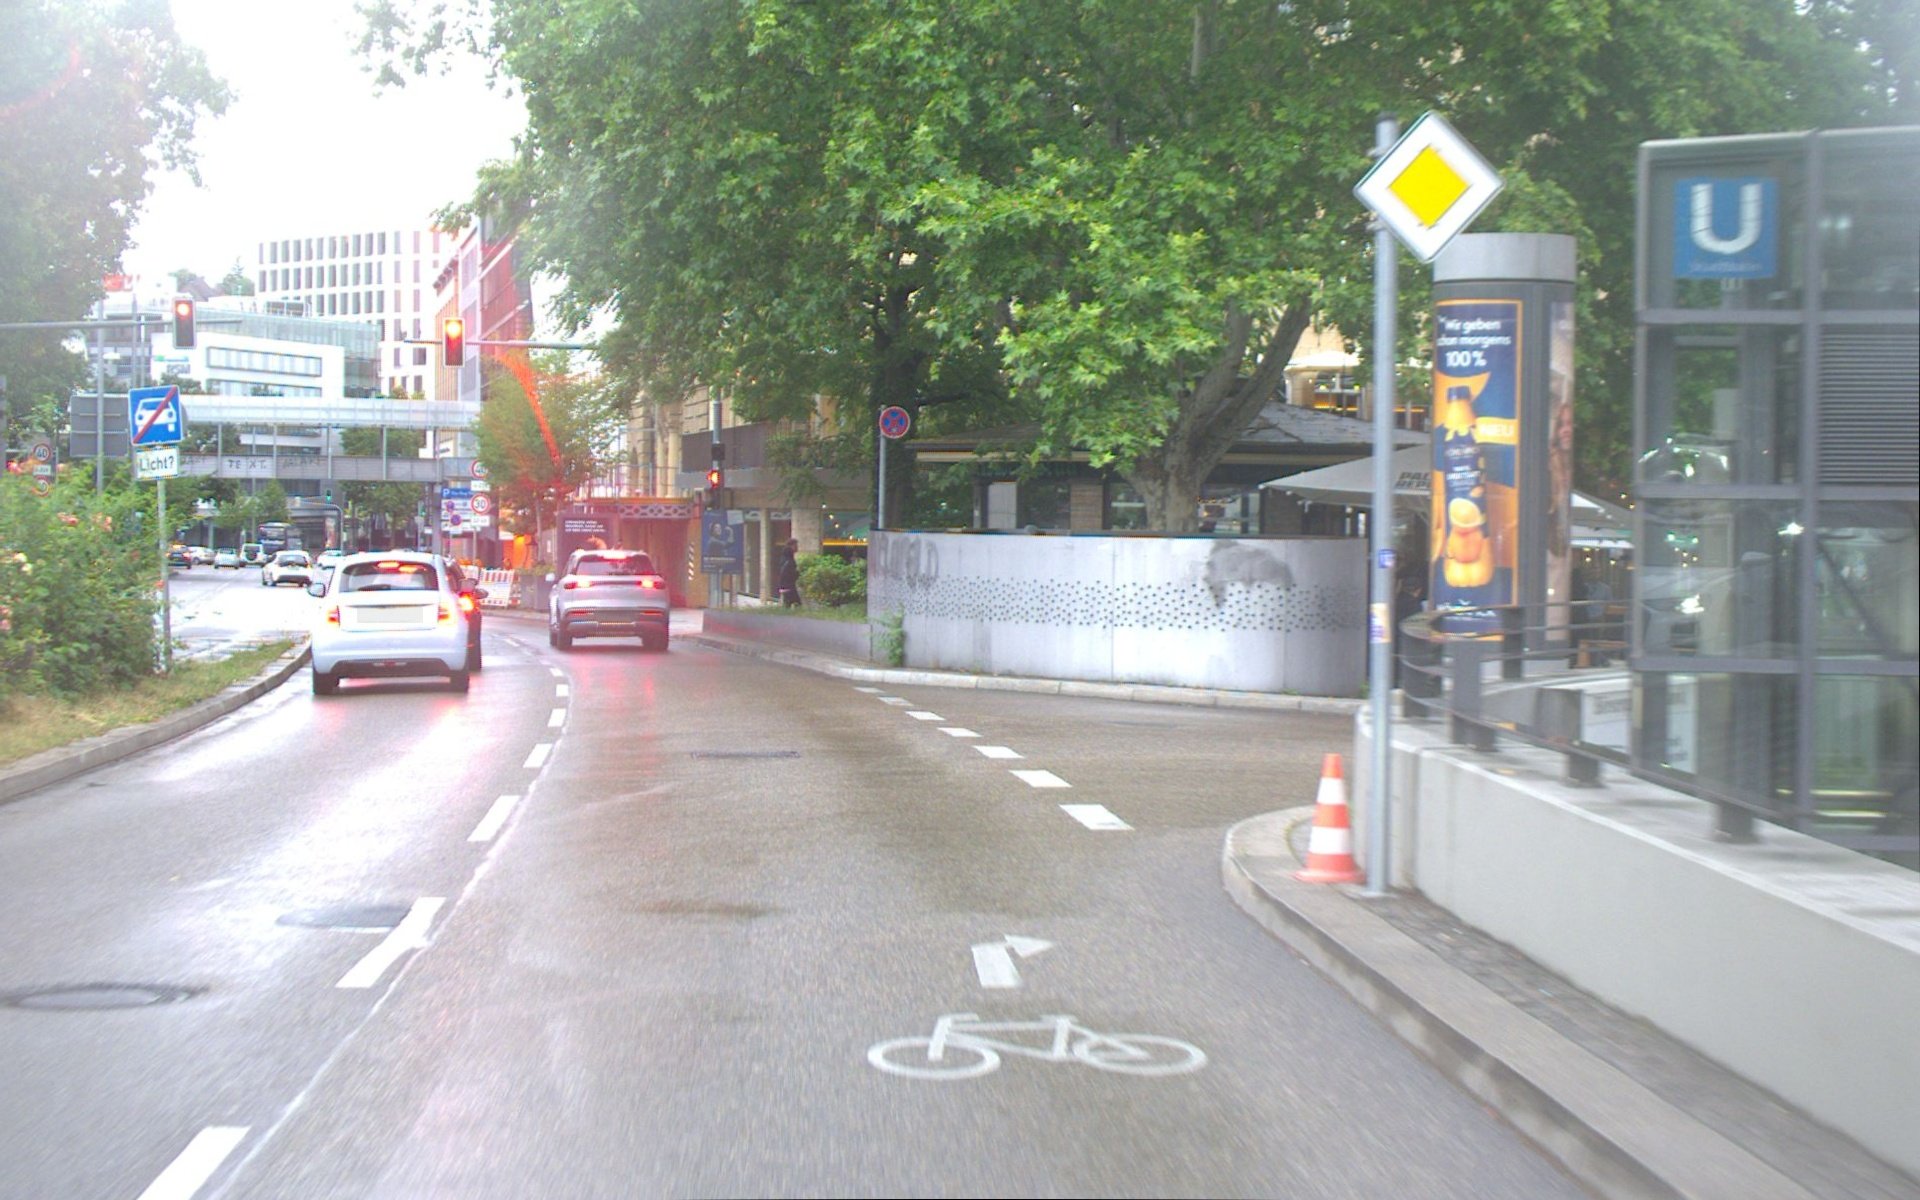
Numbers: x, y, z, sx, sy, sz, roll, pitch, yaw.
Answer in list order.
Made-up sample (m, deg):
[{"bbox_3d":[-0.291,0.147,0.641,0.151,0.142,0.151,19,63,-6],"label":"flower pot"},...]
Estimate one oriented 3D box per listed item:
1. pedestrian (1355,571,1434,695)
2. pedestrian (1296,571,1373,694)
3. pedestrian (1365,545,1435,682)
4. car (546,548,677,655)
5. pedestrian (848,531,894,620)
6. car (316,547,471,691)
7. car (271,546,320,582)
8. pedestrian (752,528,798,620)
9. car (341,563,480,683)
[{"bbox_3d":[5.120,0.383,40.553,0.684,1.405,0.905,3,0,-4],"label":"pedestrian"},{"bbox_3d":[4.403,0.376,40.467,0.684,1.405,0.905,3,0,-4],"label":"pedestrian"},{"bbox_3d":[5.512,0.163,43.068,0.723,1.696,0.617,0,0,23],"label":"pedestrian"},{"bbox_3d":[-5.840,0.011,57.259,1.946,1.660,4.346,1,0,-8],"label":"car"},{"bbox_3d":[-1.805,-0.498,69.576,0.859,1.774,0.718,1,0,-5],"label":"pedestrian"},{"bbox_3d":[-6.261,0.177,38.236,1.590,1.486,3.506,-1,1,-8],"label":"car"},{"bbox_3d":[-28.603,-1.558,147.957,1.978,1.458,4.346,-1,1,-11],"label":"car"},{"bbox_3d":[-3.602,-0.509,66.969,0.859,1.774,0.718,1,0,-5],"label":"pedestrian"},{"bbox_3d":[-7.167,0.267,45.105,1.691,1.458,4.131,-1,1,-8],"label":"car"}]
